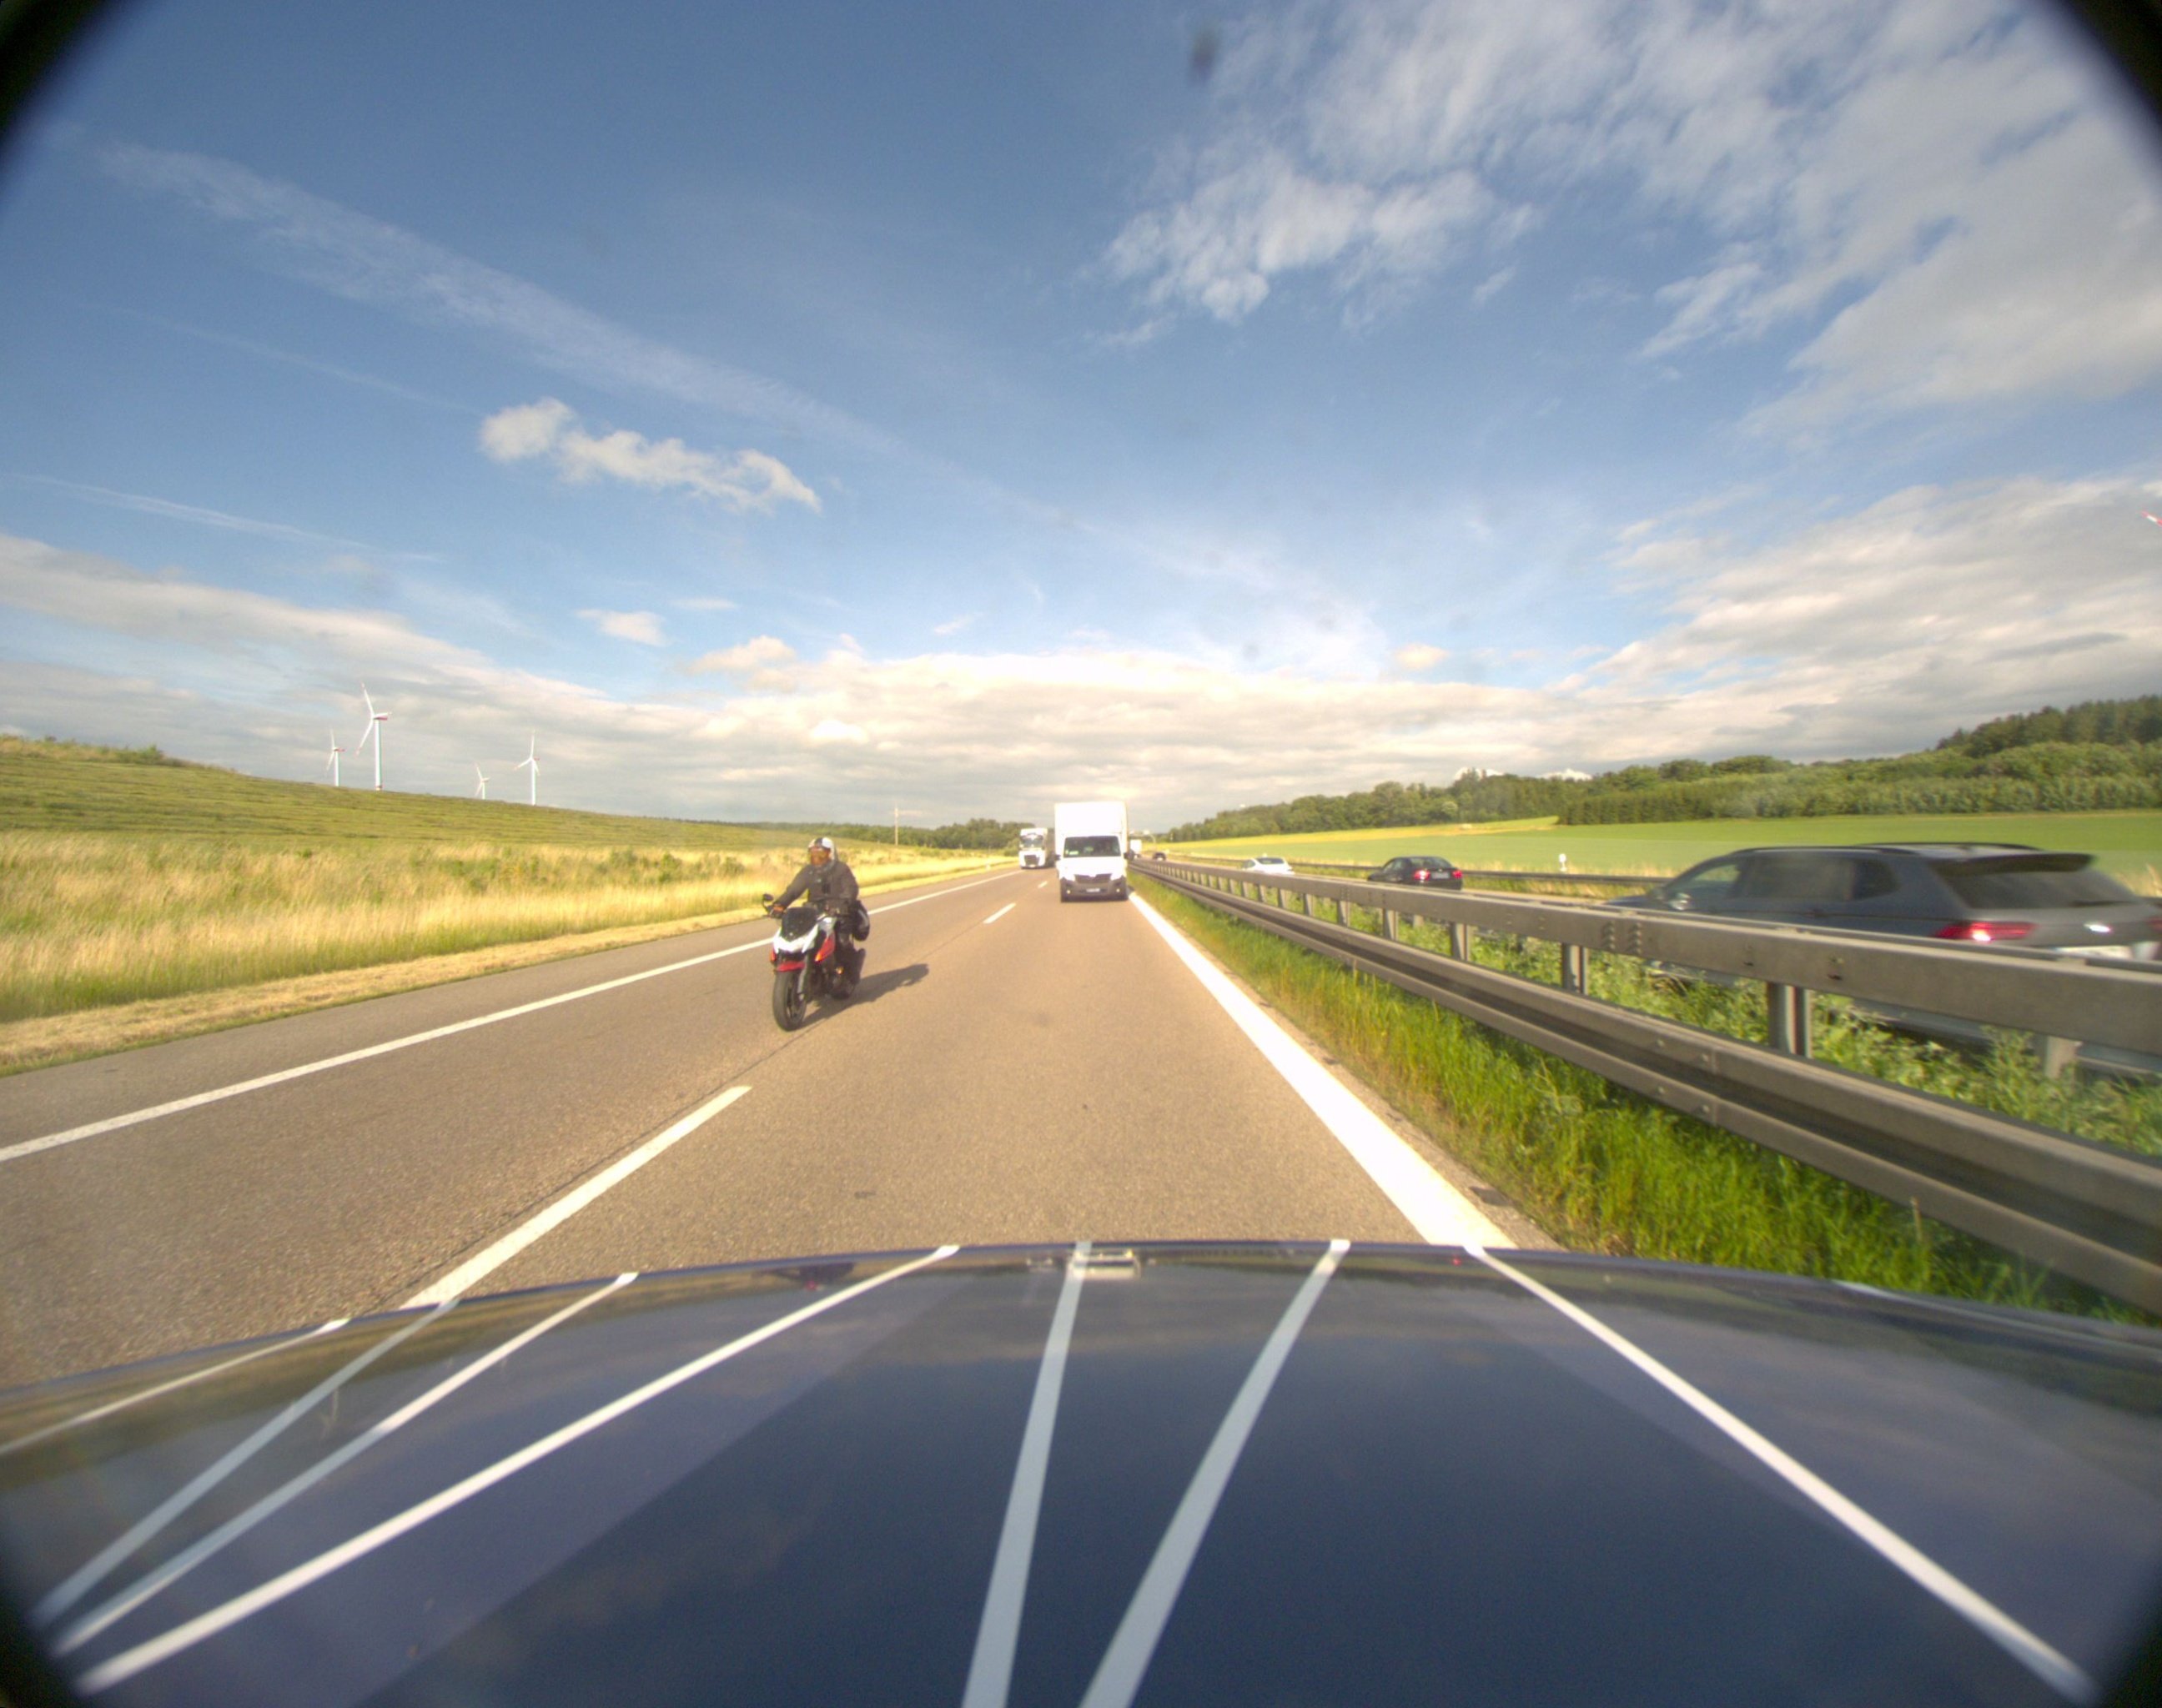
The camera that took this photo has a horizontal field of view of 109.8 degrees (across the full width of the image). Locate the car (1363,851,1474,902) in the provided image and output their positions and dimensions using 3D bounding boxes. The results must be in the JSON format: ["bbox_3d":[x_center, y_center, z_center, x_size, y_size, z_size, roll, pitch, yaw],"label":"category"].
[{"bbox_3d":[11.259,0.694,25.709,1.754,1.471,4.479,-2,1,0],"label":"car"}]

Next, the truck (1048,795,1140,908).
[{"bbox_3d":[0.392,-0.076,27.256,2.502,3.141,11.162,-2,0,0],"label":"truck"}]

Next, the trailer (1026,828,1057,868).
[{"bbox_3d":[-4.239,-0.614,84.272,2.623,4.017,13.697,1,0,0],"label":"trailer"}]

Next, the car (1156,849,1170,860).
[{"bbox_3d":[12.351,0.038,114.237,1.619,1.512,3.999,-2,1,0],"label":"car"}]

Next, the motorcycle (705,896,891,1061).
[{"bbox_3d":[-2.622,1.094,7.412,0.898,1.183,2.256,-2,1,1],"label":"motorcycle"}]

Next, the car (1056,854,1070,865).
[{"bbox_3d":[-2.677,0.774,114.033,1.871,1.409,4.461,-2,1,1],"label":"car"}]

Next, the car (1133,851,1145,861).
[{"bbox_3d":[9.508,0.289,123.763,1.619,1.384,3.999,-2,1,0],"label":"car"}]

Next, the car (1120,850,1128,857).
[{"bbox_3d":[9.811,-0.165,172.273,1.619,1.576,4.064,-2,1,0],"label":"car"}]

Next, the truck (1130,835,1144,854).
[{"bbox_3d":[14.623,-2.537,199.906,2.887,4.608,13.421,-2,1,1],"label":"truck"}]

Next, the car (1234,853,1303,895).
[{"bbox_3d":[7.776,0.781,31.945,1.754,1.512,4.479,-2,1,0],"label":"car"}]

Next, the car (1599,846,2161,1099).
[{"bbox_3d":[7.218,0.766,7.156,1.754,1.594,4.265,-2,1,0],"label":"car"}]

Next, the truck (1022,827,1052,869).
[{"bbox_3d":[-4.339,-0.576,76.617,2.607,4.017,6.119,1,0,0],"label":"truck"}]

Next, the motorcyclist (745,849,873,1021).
[{"bbox_3d":[-2.635,0.749,7.477,0.852,1.551,0.934,-2,1,1],"label":"motorcyclist"}]
